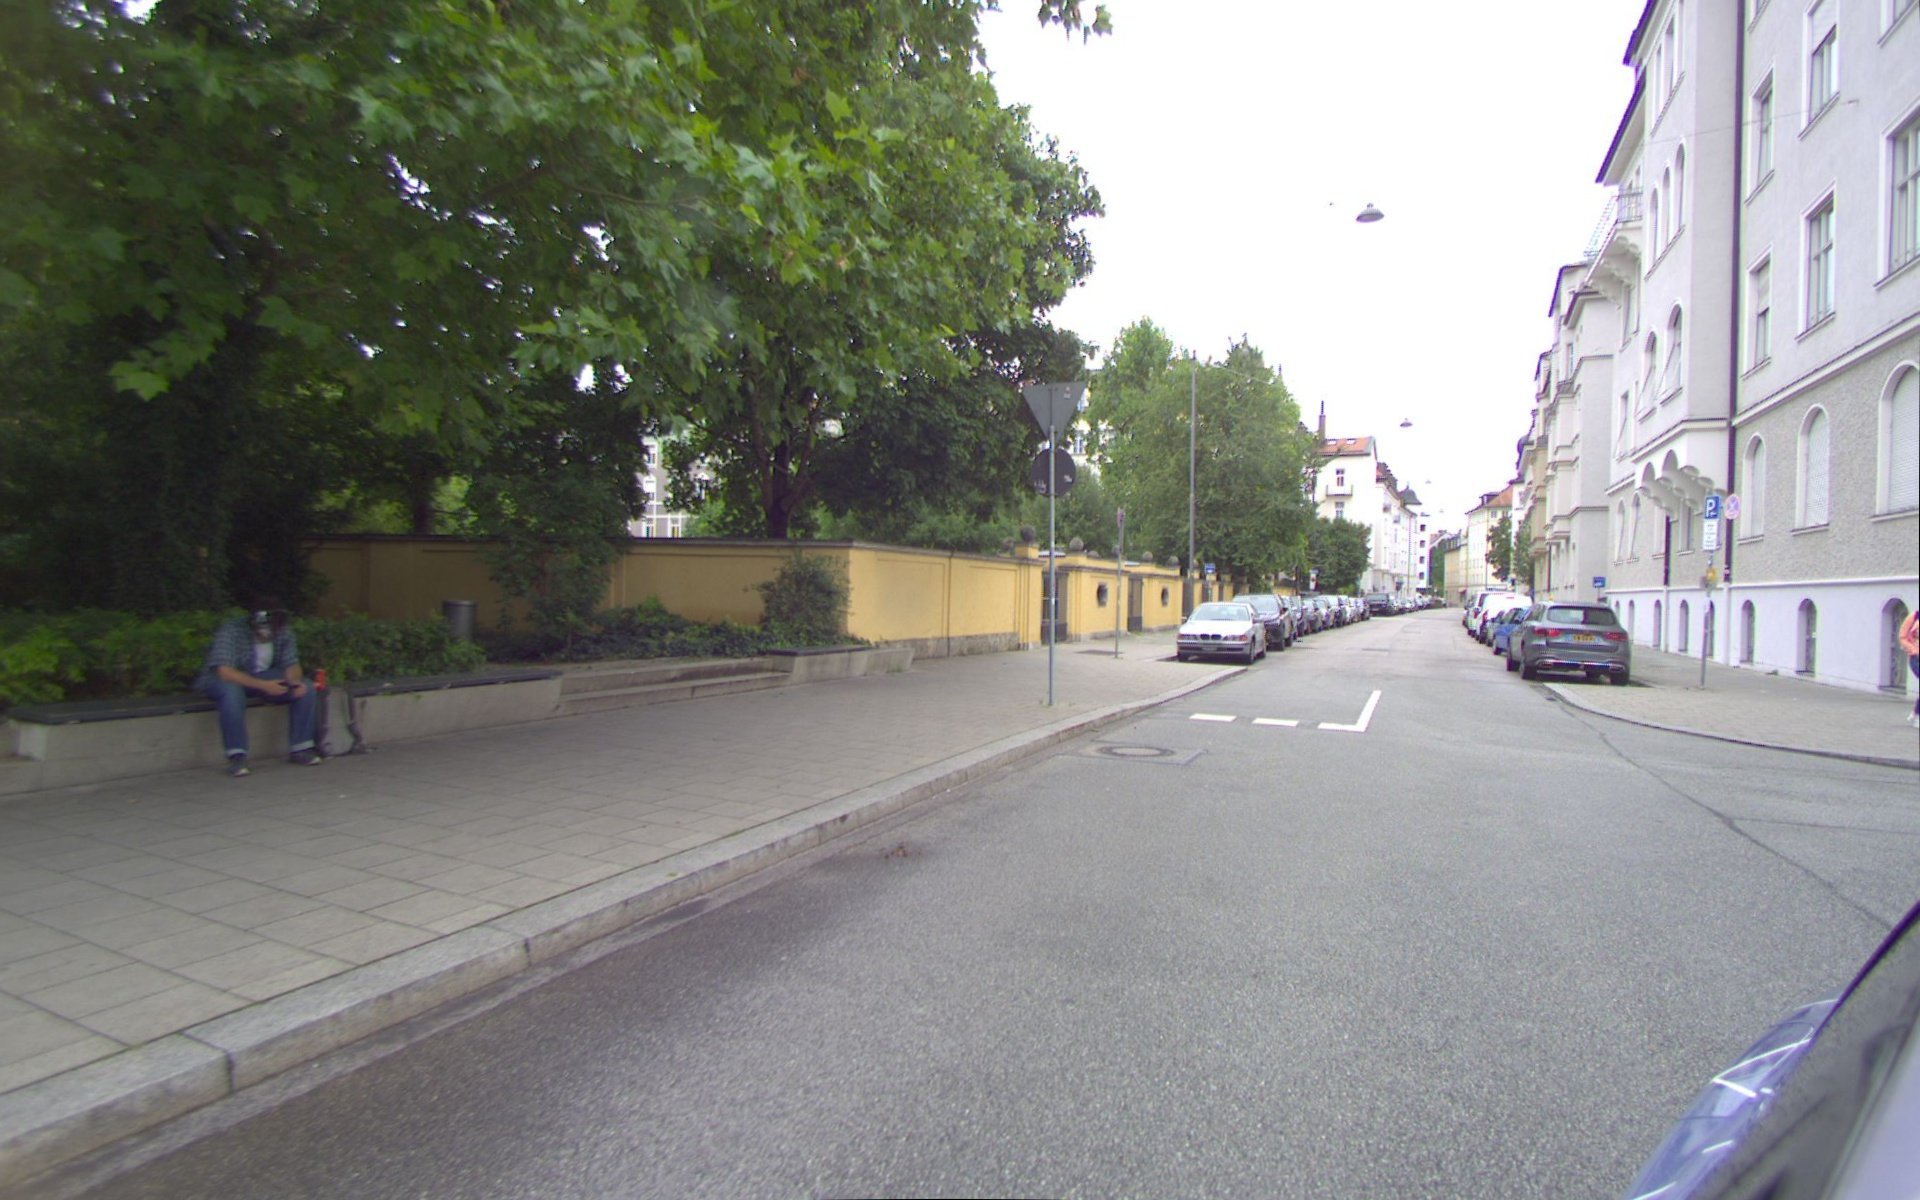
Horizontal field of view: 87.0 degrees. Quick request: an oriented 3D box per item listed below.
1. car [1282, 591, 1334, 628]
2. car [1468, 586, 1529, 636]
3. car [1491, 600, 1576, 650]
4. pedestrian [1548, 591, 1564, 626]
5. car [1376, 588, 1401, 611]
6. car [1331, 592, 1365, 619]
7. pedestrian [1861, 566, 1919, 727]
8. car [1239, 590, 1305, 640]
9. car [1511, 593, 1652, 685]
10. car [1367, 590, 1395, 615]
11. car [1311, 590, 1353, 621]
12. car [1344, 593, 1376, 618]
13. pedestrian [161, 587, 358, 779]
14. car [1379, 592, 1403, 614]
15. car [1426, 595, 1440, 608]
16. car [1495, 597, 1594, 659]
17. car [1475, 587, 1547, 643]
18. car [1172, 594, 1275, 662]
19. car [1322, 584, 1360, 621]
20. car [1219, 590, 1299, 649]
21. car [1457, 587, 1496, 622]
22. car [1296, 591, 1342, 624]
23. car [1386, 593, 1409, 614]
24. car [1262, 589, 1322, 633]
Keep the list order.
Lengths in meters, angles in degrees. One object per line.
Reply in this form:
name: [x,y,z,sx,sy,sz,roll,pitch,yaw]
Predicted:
car: [15.119,0.360,43.834,1.755,1.462,4.369,2,1,23]
car: [22.854,0.419,43.066,1.872,1.907,4.385,3,1,24]
car: [18.377,0.749,32.610,1.872,1.392,4.385,3,2,24]
pedestrian: [34.888,0.488,59.217,0.704,2.039,0.703,1,0,26]
car: [36.185,-0.055,85.416,1.757,1.825,4.306,2,1,26]
car: [23.350,0.299,60.831,1.755,1.462,4.034,2,1,23]
pedestrian: [11.759,0.554,12.209,1.205,1.896,1.076,2,1,38]
car: [10.793,0.455,34.833,1.804,1.549,4.371,2,1,22]
car: [13.025,0.725,21.489,1.872,1.636,4.385,3,2,24]
car: [33.556,0.180,80.649,1.757,1.825,4.306,2,1,26]
car: [19.025,0.241,51.724,1.755,1.462,4.034,2,1,23]
car: [25.831,0.324,65.351,1.755,1.462,4.034,2,1,23]
pedestrian: [-4.856,0.524,7.038,0.911,1.204,0.806,2,1,29]
car: [38.283,0.245,89.865,1.757,1.825,4.306,2,1,26]
car: [69.504,0.140,148.709,1.757,1.825,4.306,2,1,26]
car: [16.286,0.726,28.406,1.872,1.482,4.385,3,2,24]
car: [20.286,0.504,37.408,1.872,1.876,4.385,3,1,24]
car: [6.540,0.603,24.784,1.804,1.420,4.538,2,1,22]
car: [21.345,0.101,56.578,1.755,1.908,4.034,2,1,23]
car: [8.957,0.503,30.072,1.804,1.549,4.538,2,1,22]
car: [32.703,0.244,64.197,1.872,2.061,4.385,3,1,24]
car: [17.006,0.318,47.871,1.755,1.462,4.034,2,1,23]
car: [40.802,0.291,94.289,1.757,1.825,4.306,2,1,26]
car: [12.978,0.377,39.459,1.805,1.549,4.369,2,1,23]
